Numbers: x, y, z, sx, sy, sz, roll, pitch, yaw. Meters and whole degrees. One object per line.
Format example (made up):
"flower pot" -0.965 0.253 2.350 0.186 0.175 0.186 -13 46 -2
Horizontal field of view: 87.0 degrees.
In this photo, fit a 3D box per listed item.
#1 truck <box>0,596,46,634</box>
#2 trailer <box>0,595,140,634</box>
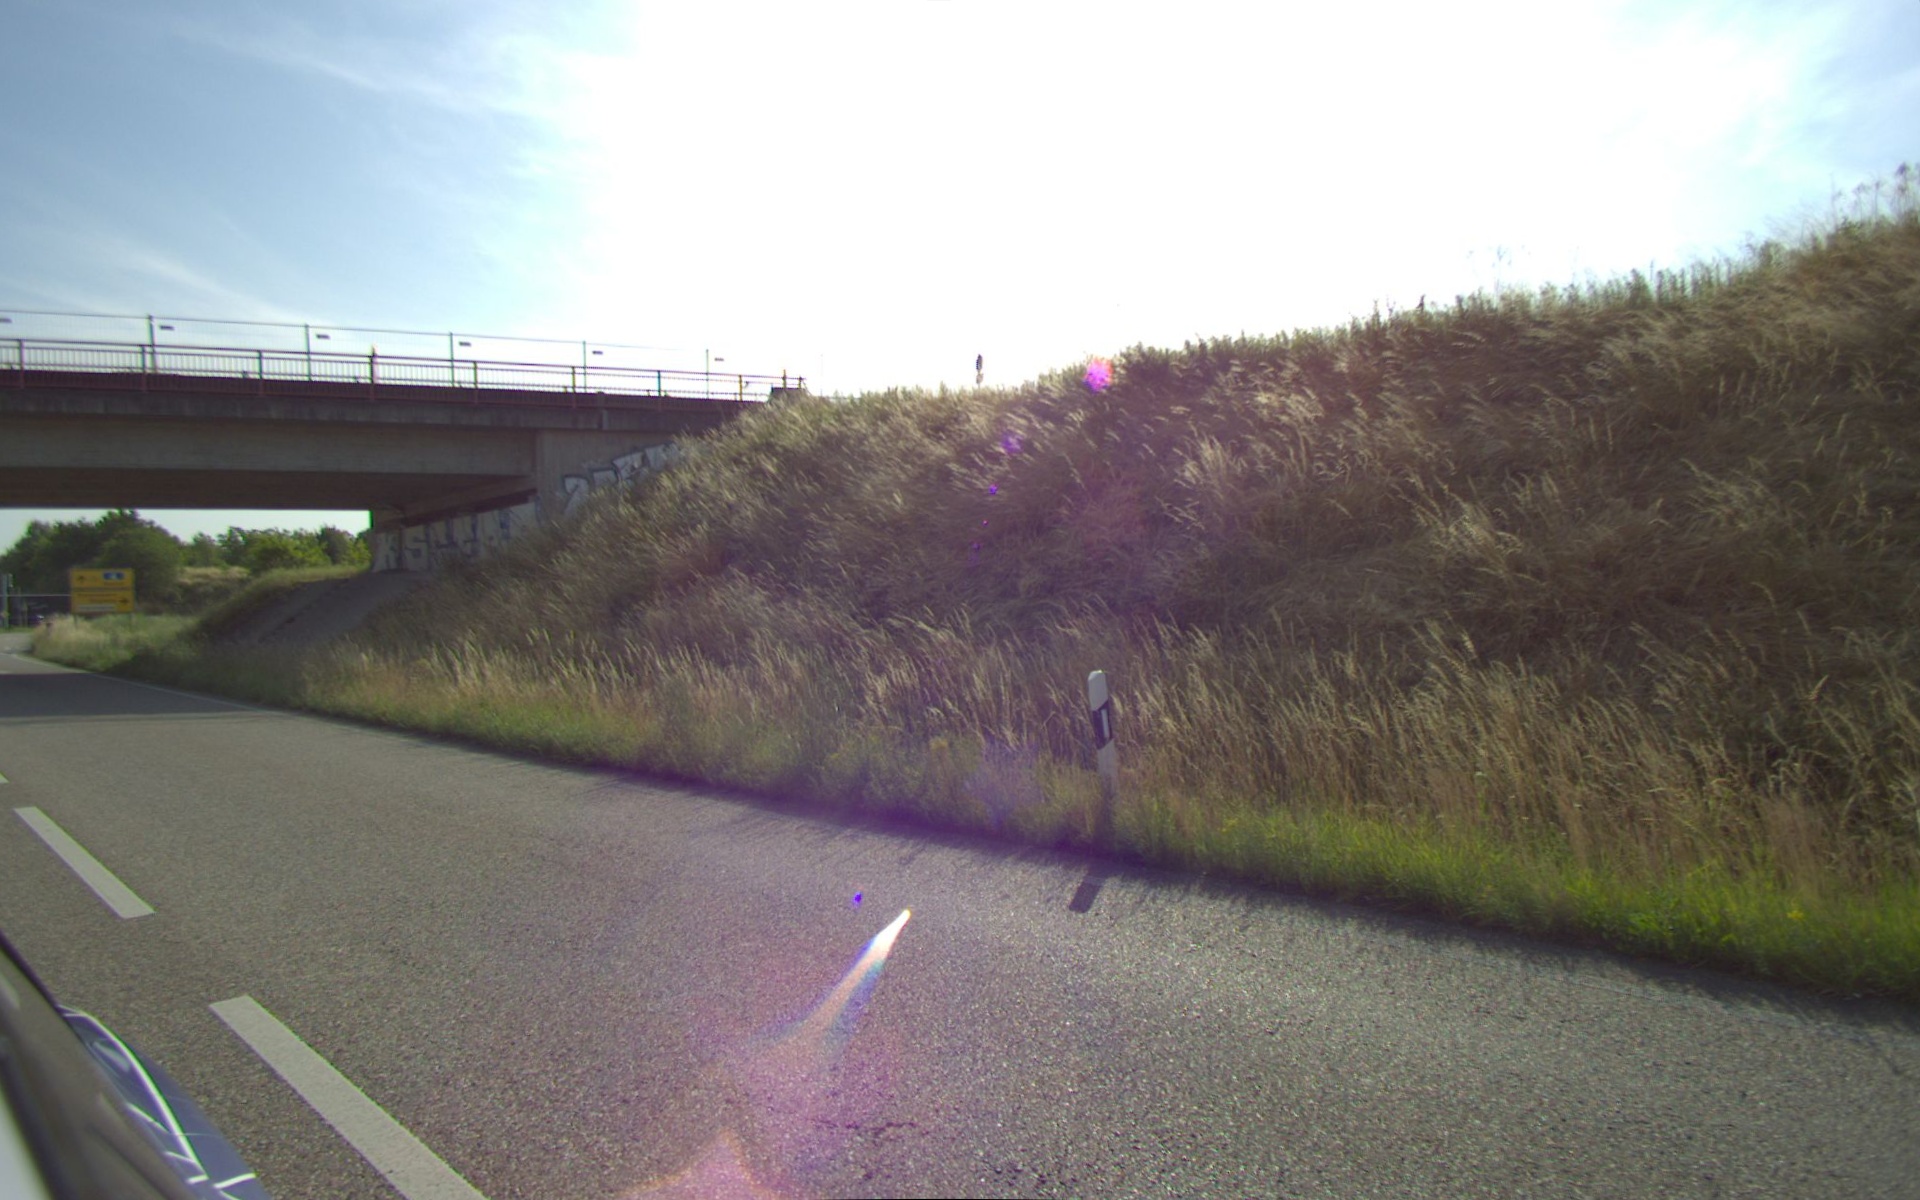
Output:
"truck" -109.598 1.748 114.794 8.258 4.144 3.570 -1 0 -32
"trailer" -104.482 1.612 117.839 13.565 4.144 3.570 -1 0 -32
